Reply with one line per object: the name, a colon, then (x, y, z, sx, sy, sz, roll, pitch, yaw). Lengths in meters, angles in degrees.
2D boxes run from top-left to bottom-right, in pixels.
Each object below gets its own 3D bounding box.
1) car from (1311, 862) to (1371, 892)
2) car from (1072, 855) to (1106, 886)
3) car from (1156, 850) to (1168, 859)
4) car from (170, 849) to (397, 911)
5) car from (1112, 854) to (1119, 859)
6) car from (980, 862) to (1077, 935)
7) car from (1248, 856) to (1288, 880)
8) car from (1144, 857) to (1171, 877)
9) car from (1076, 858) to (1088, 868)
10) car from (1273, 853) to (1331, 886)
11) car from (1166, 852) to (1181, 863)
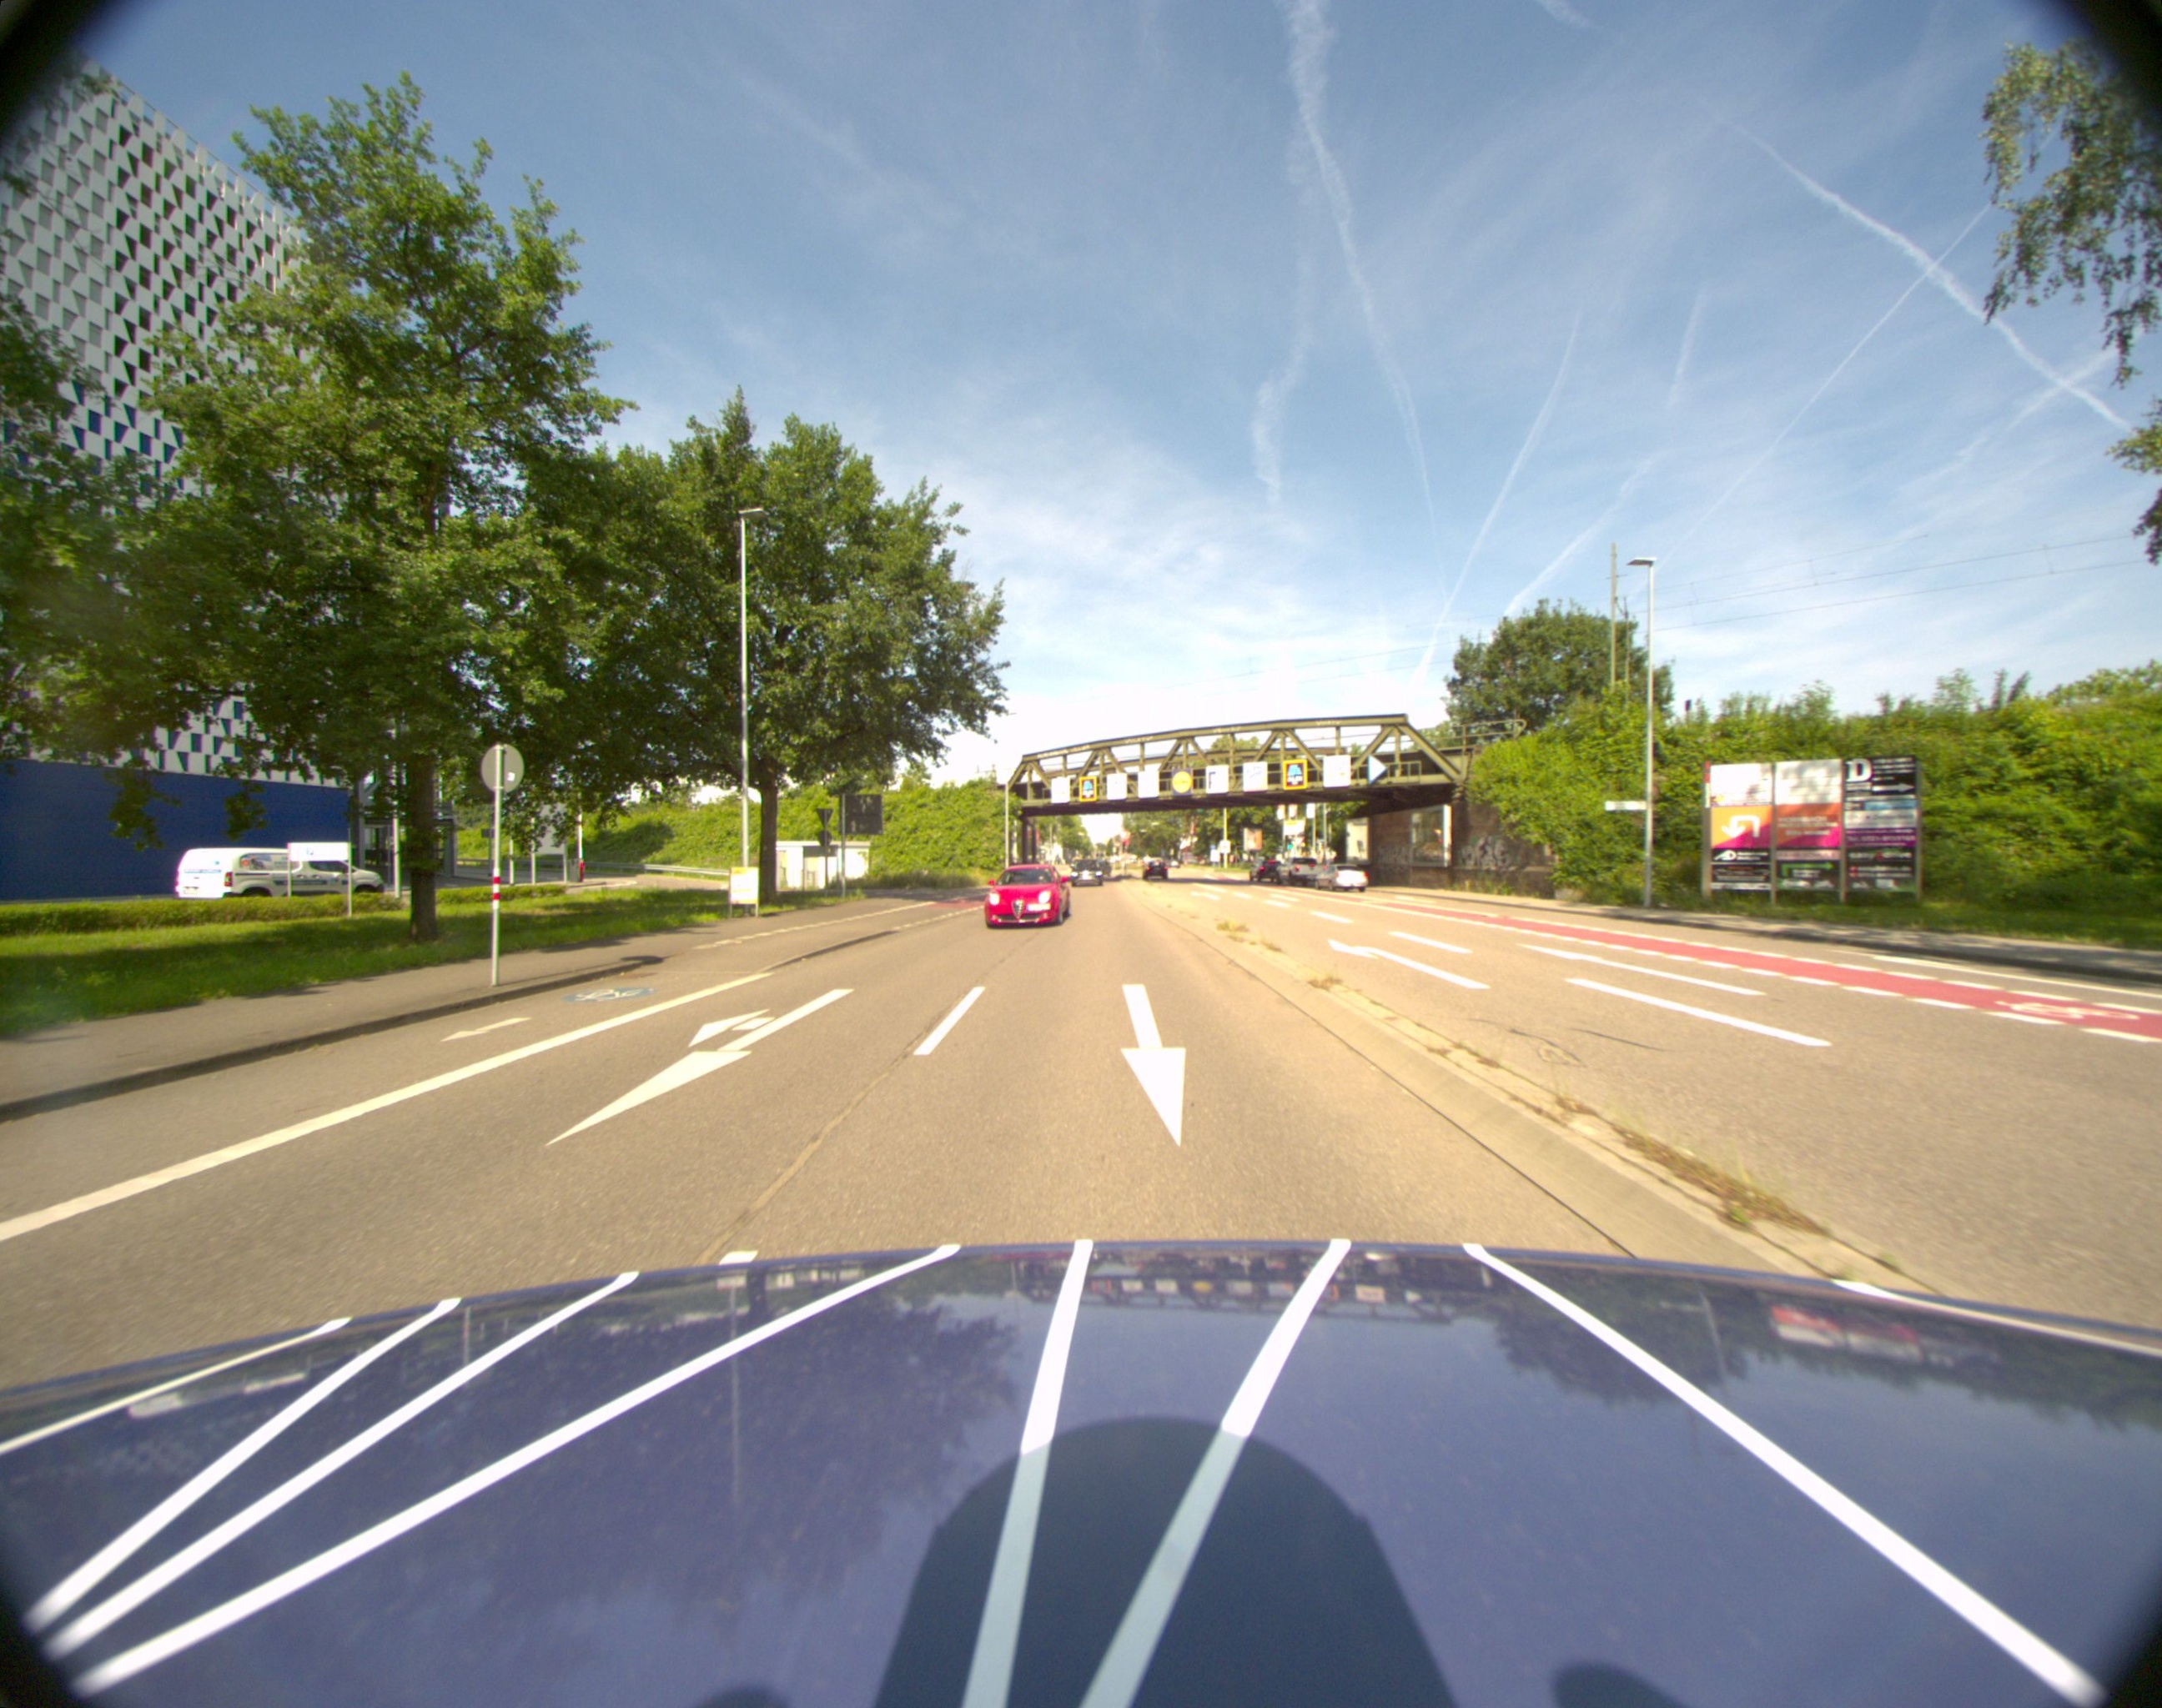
car: (13.178, 1.120, 38.750, 1.639, 1.379, 4.318, 1, 0, 1)
car: (0.531, 0.894, 44.042, 1.824, 1.632, 4.112, -2, 0, 2)
car: (16.078, 0.039, 151.601, 1.824, 1.711, 3.636, -2, 0, -2)
car: (-23.323, 0.688, 22.494, 1.854, 1.629, 4.306, -2, 0, 8)
car: (10.911, 0.654, 239.970, 1.927, 1.507, 3.824, -2, 0, -2)
car: (-1.166, 0.997, 18.586, 1.797, 1.446, 3.980, -2, 1, 4)
car: (13.469, 0.972, 54.956, 1.877, 1.586, 4.387, 0, 0, 1)
car: (5.951, 0.986, 59.550, 1.785, 1.438, 4.120, 0, 1, 1)
car: (0.216, 1.421, 120.981, 1.824, 1.569, 4.246, 0, 0, 0)
car: (13.519, 0.881, 46.817, 1.998, 1.850, 5.450, 2, 0, 1)
car: (14.960, 0.603, 123.111, 1.824, 1.711, 3.636, -2, 0, -2)
